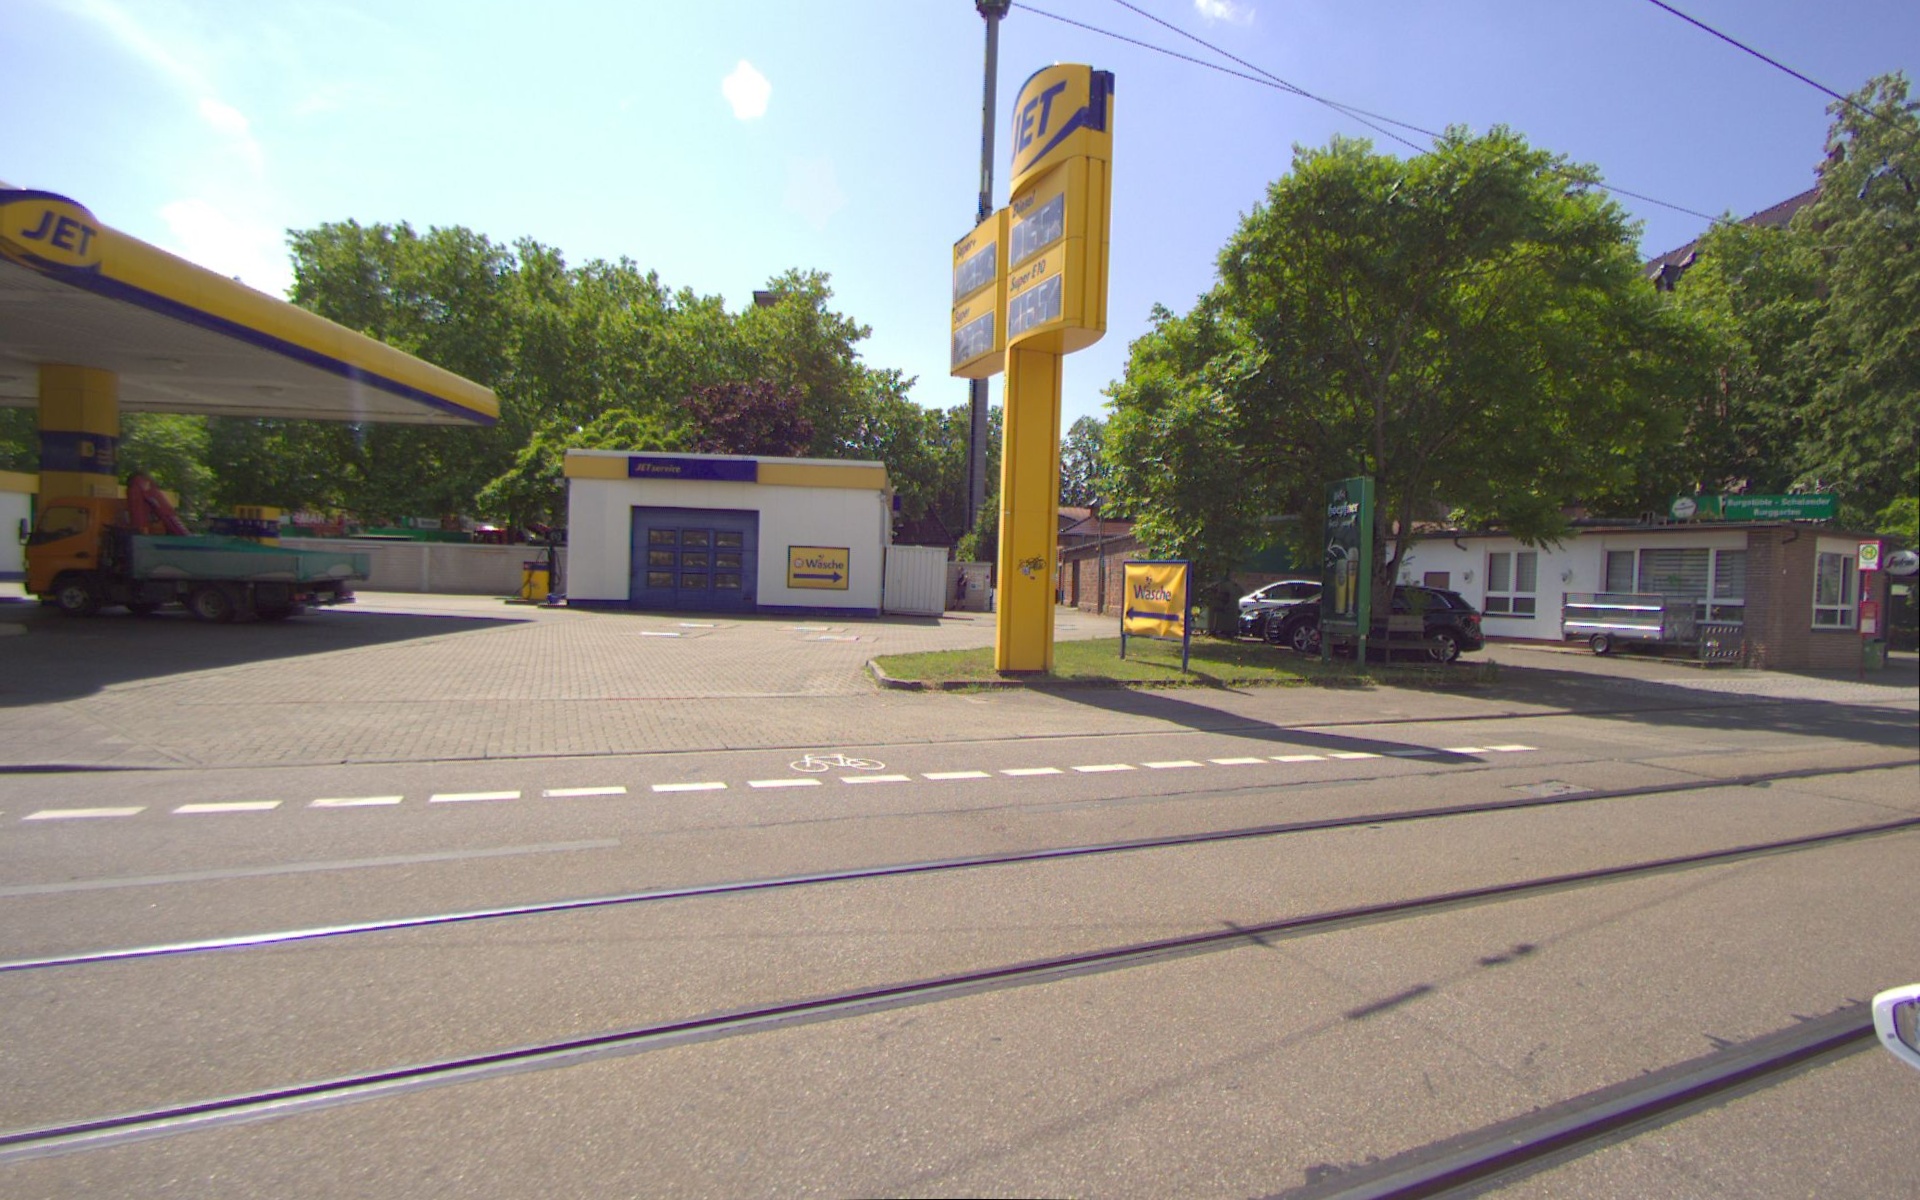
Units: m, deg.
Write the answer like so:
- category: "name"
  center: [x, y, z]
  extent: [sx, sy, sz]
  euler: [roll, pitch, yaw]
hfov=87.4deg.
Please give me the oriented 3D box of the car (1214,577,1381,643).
- category: "car"
  center: [9.482, 0.236, 28.291]
  extent: [4.248, 1.613, 1.910]
  euler: [3, 2, 21]

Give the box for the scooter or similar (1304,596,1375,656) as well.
- category: "scooter or similar"
  center: [8.048, 0.548, 21.322]
  extent: [1.333, 1.190, 0.406]
  euler: [3, 2, 17]

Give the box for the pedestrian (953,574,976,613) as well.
- category: "pedestrian"
  center: [0.183, -0.255, 41.701]
  extent: [0.822, 1.575, 0.731]
  euler: [2, 2, -6]

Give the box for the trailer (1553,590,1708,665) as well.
- category: "trailer"
  center: [17.080, 0.665, 25.702]
  extent: [1.599, 1.726, 2.821]
  euler: [1, 2, -25]

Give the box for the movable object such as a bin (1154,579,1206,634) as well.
- category: "movable object such as a bin"
  center: [5.755, 0.146, 26.350]
  extent: [0.745, 1.372, 1.344]
  euler: [2, 1, -14]

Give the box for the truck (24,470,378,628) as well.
- category: "truck"
  center: [-13.838, -0.916, 18.502]
  extent: [5.099, 2.531, 2.000]
  euler: [3, 1, 4]

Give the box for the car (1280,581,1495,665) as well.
- category: "car"
  center: [9.486, 0.456, 22.702]
  extent: [4.247, 1.611, 2.000]
  euler: [3, 1, 18]

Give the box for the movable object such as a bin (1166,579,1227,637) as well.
- category: "movable object such as a bin"
  center: [5.864, 0.198, 24.981]
  extent: [0.749, 1.372, 1.338]
  euler: [1, 2, -28]
